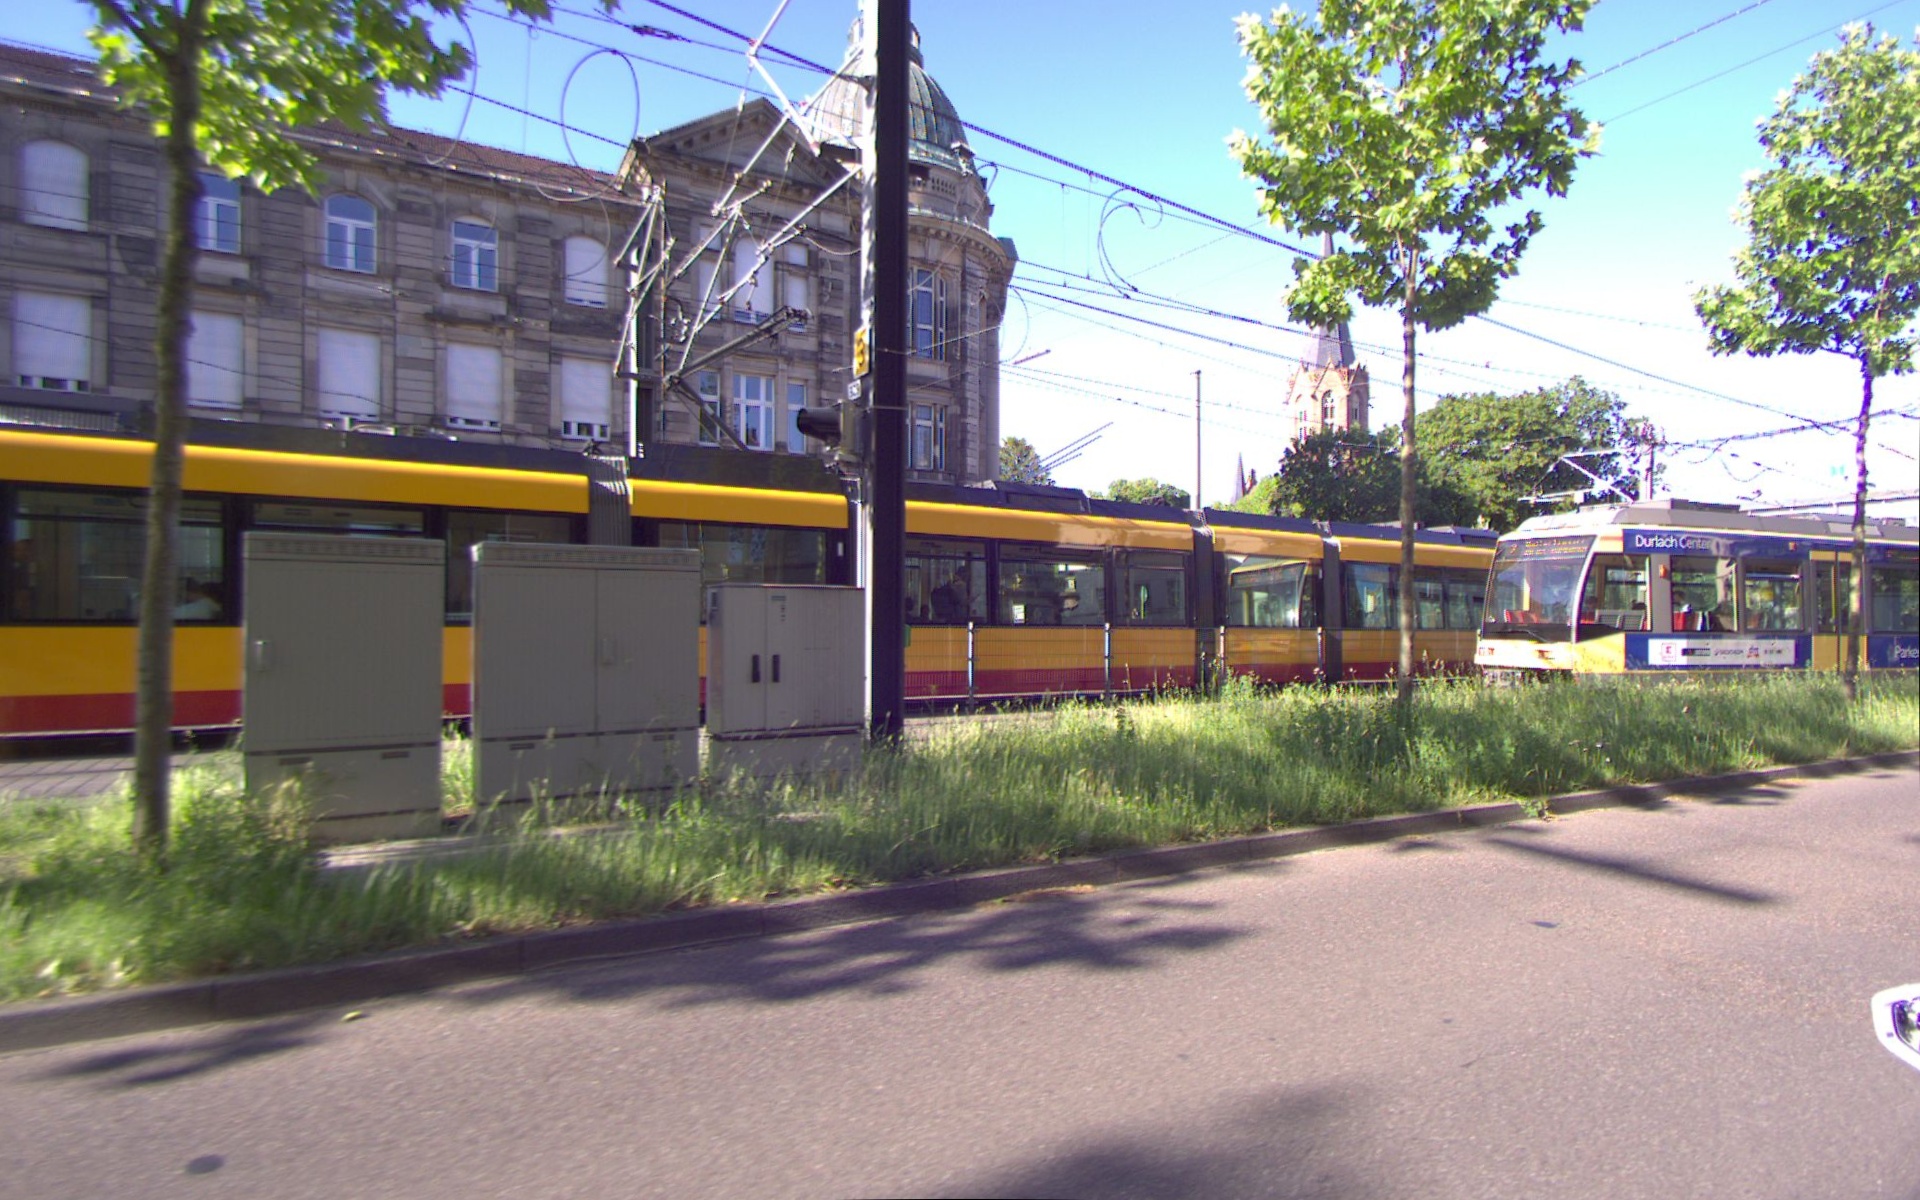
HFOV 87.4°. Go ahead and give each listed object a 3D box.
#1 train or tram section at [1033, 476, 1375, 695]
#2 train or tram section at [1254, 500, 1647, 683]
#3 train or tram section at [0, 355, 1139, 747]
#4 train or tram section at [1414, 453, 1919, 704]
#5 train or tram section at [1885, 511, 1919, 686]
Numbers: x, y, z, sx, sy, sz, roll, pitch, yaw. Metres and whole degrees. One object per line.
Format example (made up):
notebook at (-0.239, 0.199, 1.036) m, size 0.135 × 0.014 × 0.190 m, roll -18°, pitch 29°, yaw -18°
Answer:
train or tram section at (4.685, -0.194, 19.045) m, size 5.992 × 3.530 × 2.940 m, roll 1°, pitch 0°, yaw -32°
train or tram section at (11.909, -0.092, 23.696) m, size 11.164 × 3.530 × 2.944 m, roll 1°, pitch 0°, yaw -33°
train or tram section at (-6.818, -0.404, 11.891) m, size 20.978 × 3.530 × 2.948 m, roll 1°, pitch 0°, yaw -32°
train or tram section at (15.367, -0.173, 19.328) m, size 14.058 × 3.863 × 2.924 m, roll 2°, pitch 0°, yaw -21°
train or tram section at (23.745, 0.025, 22.517) m, size 3.808 × 3.949 × 2.950 m, roll 1°, pitch 1°, yaw -21°
